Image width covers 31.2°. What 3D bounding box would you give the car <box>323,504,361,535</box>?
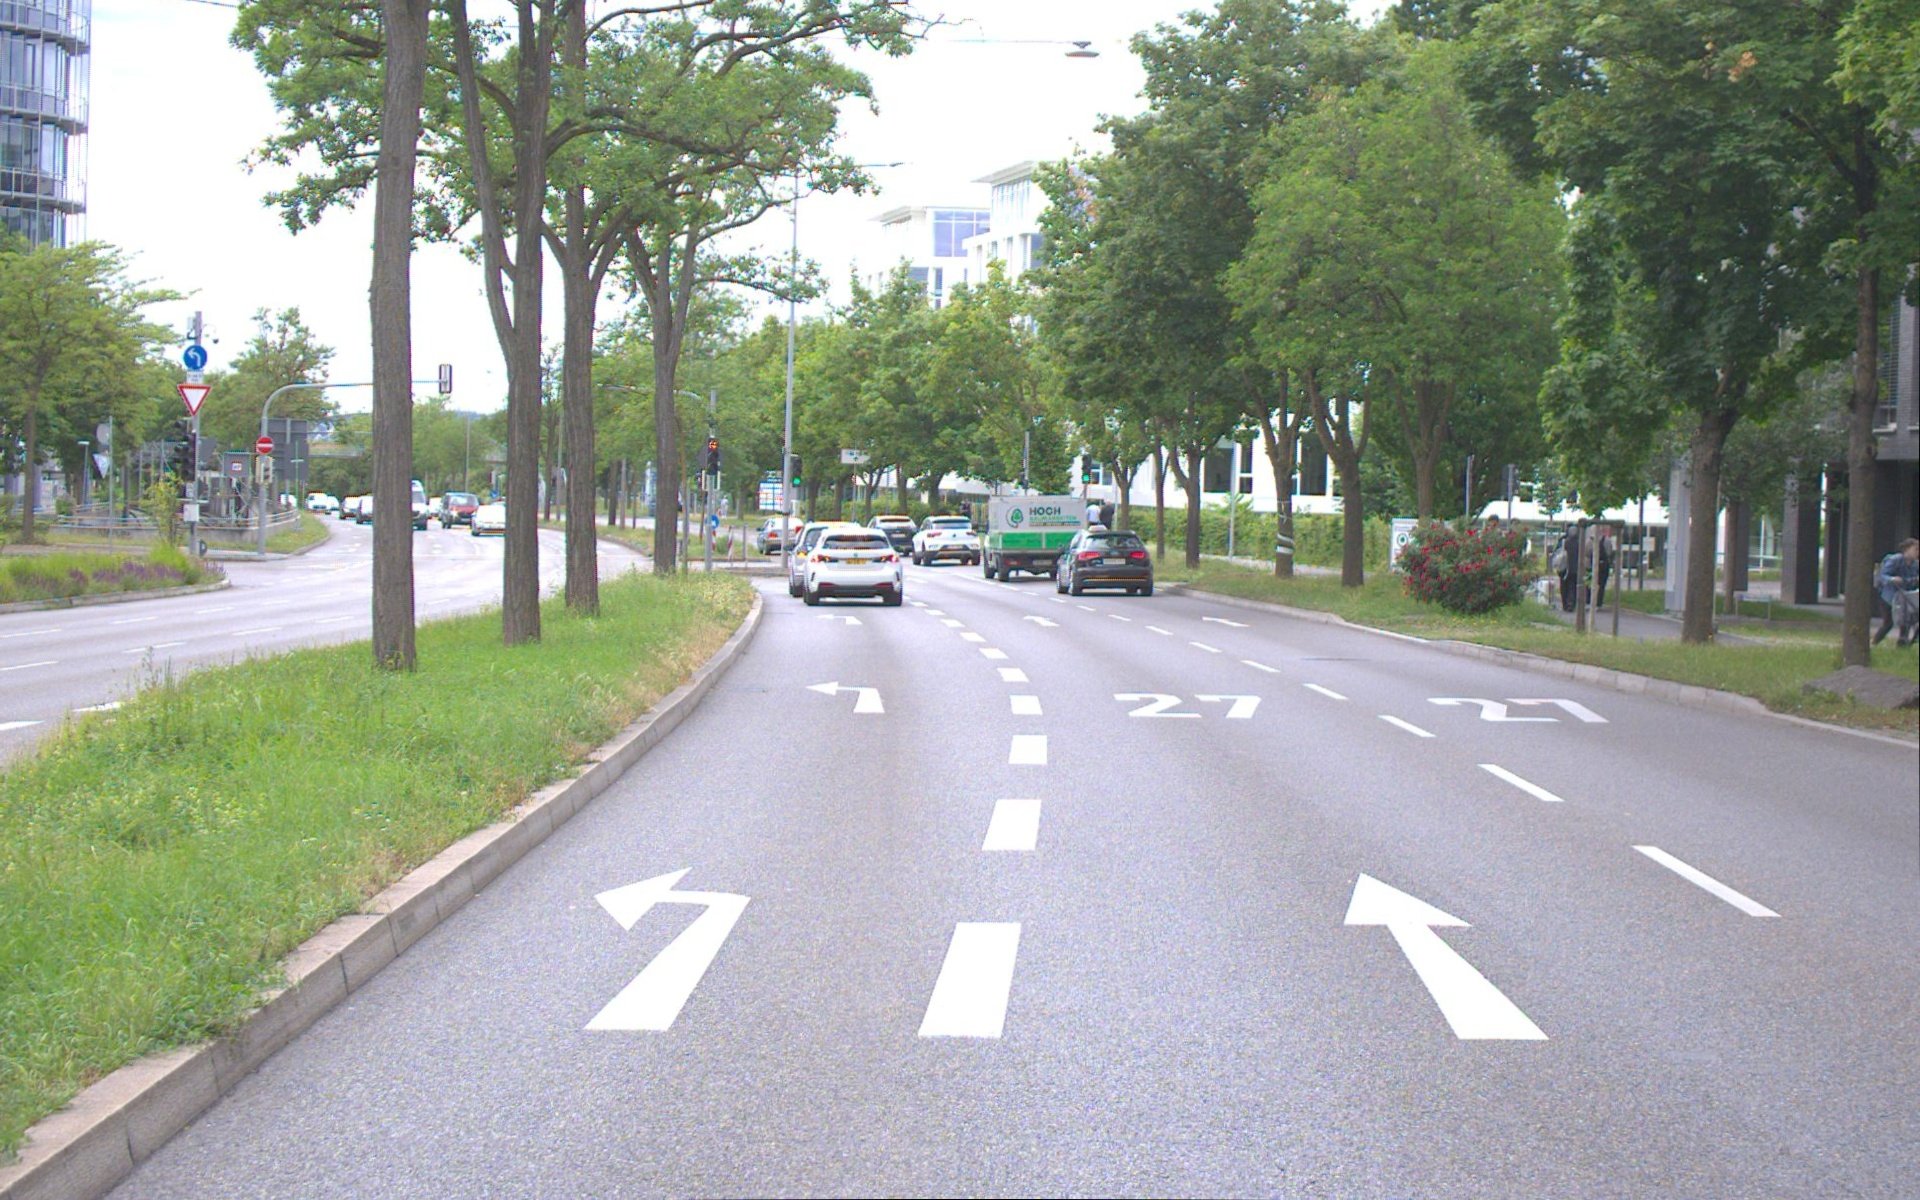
[{"bbox_3d":[-39.589,-5.170,220.413,1.993,1.846,4.325,3,1,-6],"label":"car"}]

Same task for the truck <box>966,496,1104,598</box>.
[{"bbox_3d":[1.899,-1.365,89.454,2.859,2.511,6.288,1,0,-5],"label":"truck"}]

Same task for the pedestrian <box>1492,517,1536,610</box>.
[{"bbox_3d":[10.760,-0.715,66.792,0.608,1.769,0.954,1,3,-2],"label":"pedestrian"}]

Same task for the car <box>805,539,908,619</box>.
[{"bbox_3d":[-1.949,-0.405,65.751,1.863,1.444,4.000,1,0,-1],"label":"car"}]

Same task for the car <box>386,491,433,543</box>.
[{"bbox_3d":[-29.160,-4.391,182.166,1.993,2.625,5.876,3,1,-6],"label":"car"}]

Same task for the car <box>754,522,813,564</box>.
[{"bbox_3d":[-6.604,-2.141,128.349,1.993,1.485,4.001,2,1,-5],"label":"car"}]

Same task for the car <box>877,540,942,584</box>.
[{"bbox_3d":[-1.832,-1.386,124.423,1.993,1.485,4.001,2,1,-5],"label":"car"}]

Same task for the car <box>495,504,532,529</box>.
[{"bbox_3d":[-25.357,-4.739,195.311,1.753,1.366,3.780,0,1,-3],"label":"car"}]

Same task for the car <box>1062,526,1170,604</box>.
[{"bbox_3d":[3.331,-0.764,74.207,1.993,1.590,4.000,1,1,-2],"label":"car"}]

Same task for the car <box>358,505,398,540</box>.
[{"bbox_3d":[-34.764,-4.624,205.368,1.993,2.004,4.325,3,1,-6],"label":"car"}]

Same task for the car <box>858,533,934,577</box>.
[{"bbox_3d":[-2.305,-1.624,122.361,1.993,1.503,4.001,1,1,-11],"label":"car"}]

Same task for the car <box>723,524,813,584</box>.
[{"bbox_3d":[-5.103,-1.219,91.866,1.994,1.503,4.000,1,0,3],"label":"car"}]

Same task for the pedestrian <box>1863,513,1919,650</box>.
[{"bbox_3d":[11.431,-0.230,41.824,0.555,1.647,0.962,0,1,-6],"label":"pedestrian"}]

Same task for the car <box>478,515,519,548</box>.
[{"bbox_3d":[-21.935,-3.263,163.453,1.752,1.439,4.135,3,1,-6],"label":"car"}]

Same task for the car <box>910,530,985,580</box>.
[{"bbox_3d":[-0.418,-1.441,108.857,1.993,1.503,4.001,1,1,-5],"label":"car"}]

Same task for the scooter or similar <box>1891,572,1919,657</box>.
[{"bbox_3d":[11.530,0.171,40.935,0.583,0.990,0.847,0,1,-6],"label":"scooter or similar"}]

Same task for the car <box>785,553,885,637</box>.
[{"bbox_3d":[-2.634,-0.124,72.349,1.993,1.666,4.000,1,0,-2],"label":"car"}]
